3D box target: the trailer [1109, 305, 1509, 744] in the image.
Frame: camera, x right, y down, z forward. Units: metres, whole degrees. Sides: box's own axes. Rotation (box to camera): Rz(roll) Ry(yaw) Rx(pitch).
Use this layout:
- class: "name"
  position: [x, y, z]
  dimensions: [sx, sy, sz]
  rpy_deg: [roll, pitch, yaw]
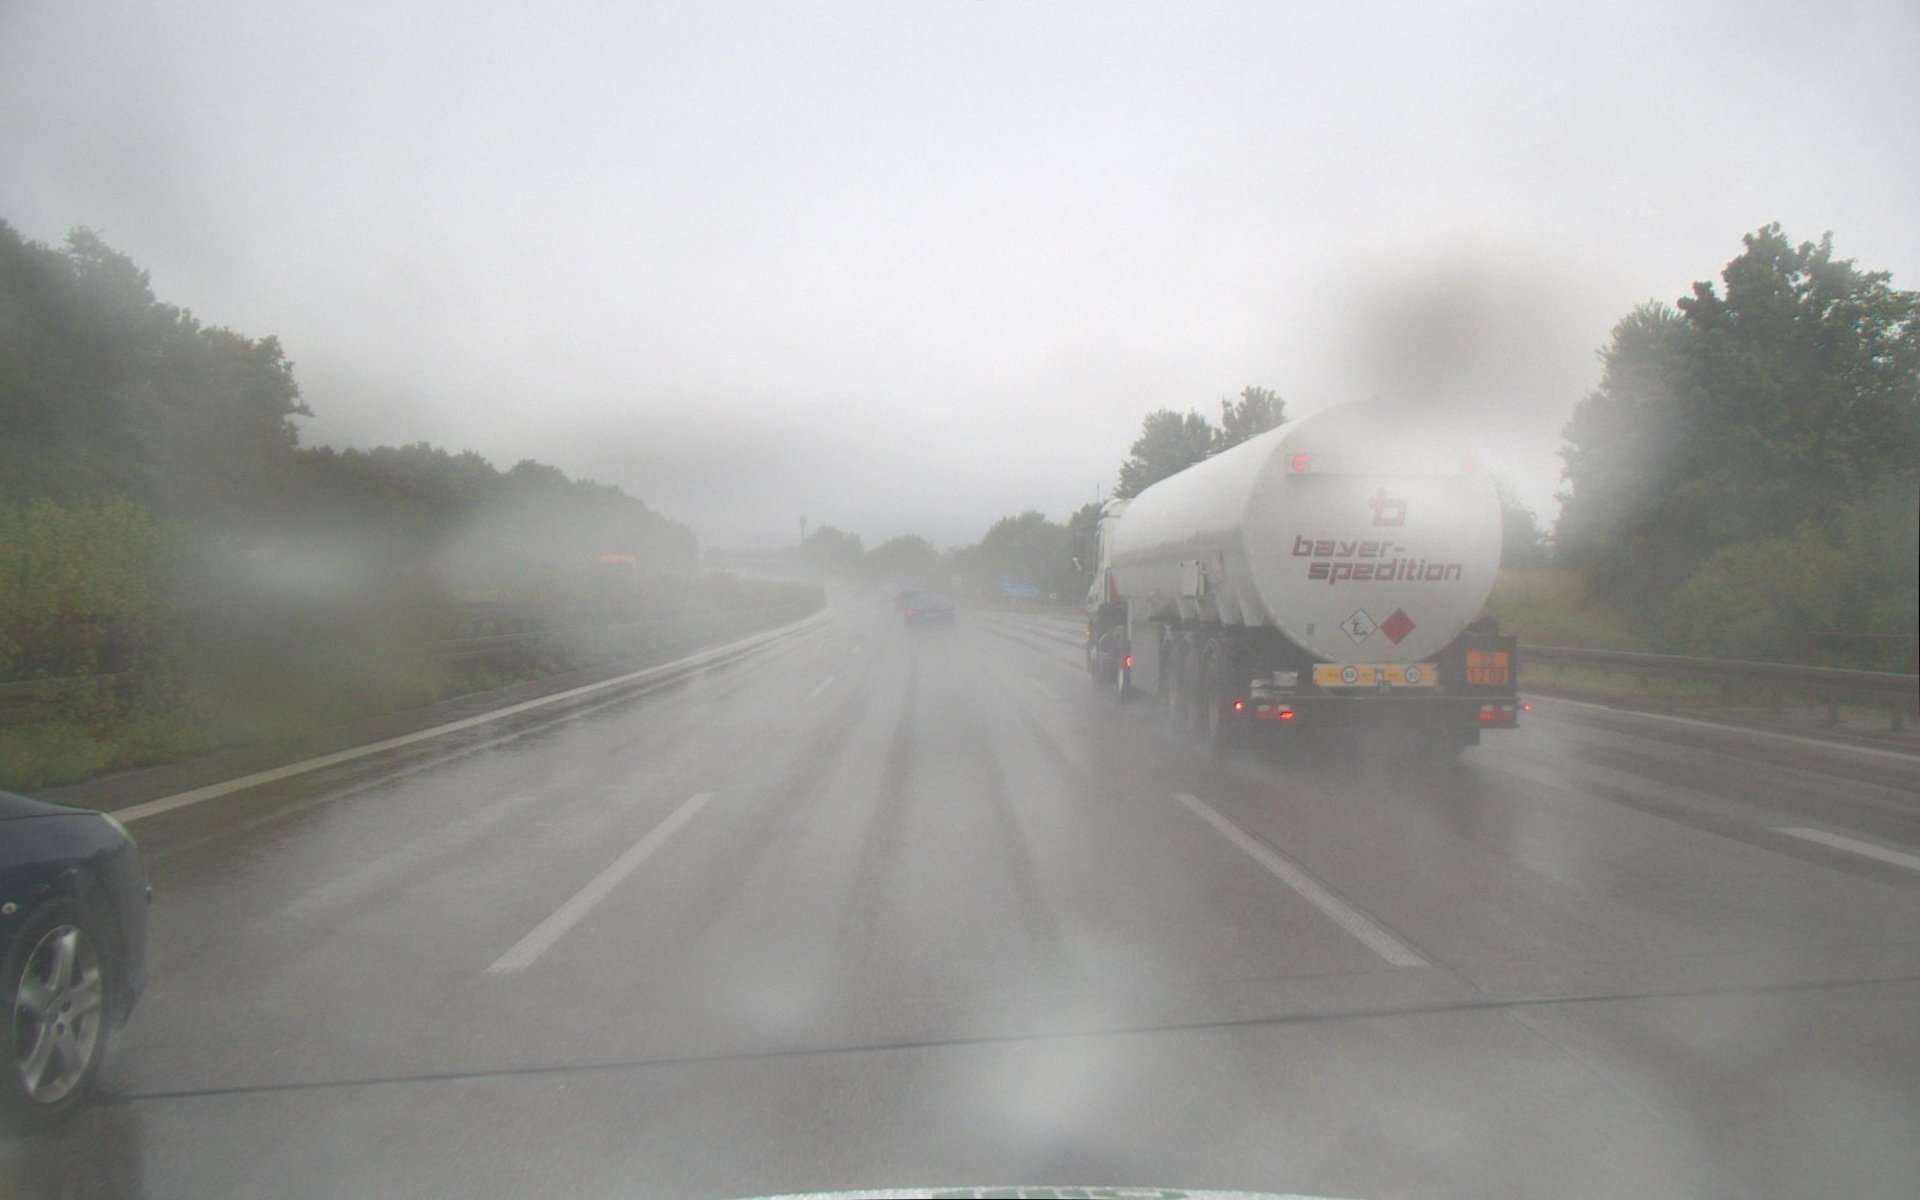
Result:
- class: "trailer"
  position: [3.528, -0.713, 19.196]
  dimensions: [2.942, 3.915, 8.625]
  rpy_deg: [1, 0, 1]

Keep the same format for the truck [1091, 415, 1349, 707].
- class: "truck"
  position: [3.618, -0.522, 24.613]
  dimensions: [2.883, 3.748, 6.362]
  rpy_deg: [1, 0, 1]

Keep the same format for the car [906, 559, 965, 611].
- class: "car"
  position: [-0.913, -0.561, 59.306]
  dimensions: [1.939, 1.787, 4.479]
  rpy_deg: [1, 1, -3]

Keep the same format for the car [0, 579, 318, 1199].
- class: "car"
  position: [-3.263, 0.723, 3.190]
  dimensions: [2.012, 1.511, 5.158]
  rpy_deg: [1, 1, 0]
